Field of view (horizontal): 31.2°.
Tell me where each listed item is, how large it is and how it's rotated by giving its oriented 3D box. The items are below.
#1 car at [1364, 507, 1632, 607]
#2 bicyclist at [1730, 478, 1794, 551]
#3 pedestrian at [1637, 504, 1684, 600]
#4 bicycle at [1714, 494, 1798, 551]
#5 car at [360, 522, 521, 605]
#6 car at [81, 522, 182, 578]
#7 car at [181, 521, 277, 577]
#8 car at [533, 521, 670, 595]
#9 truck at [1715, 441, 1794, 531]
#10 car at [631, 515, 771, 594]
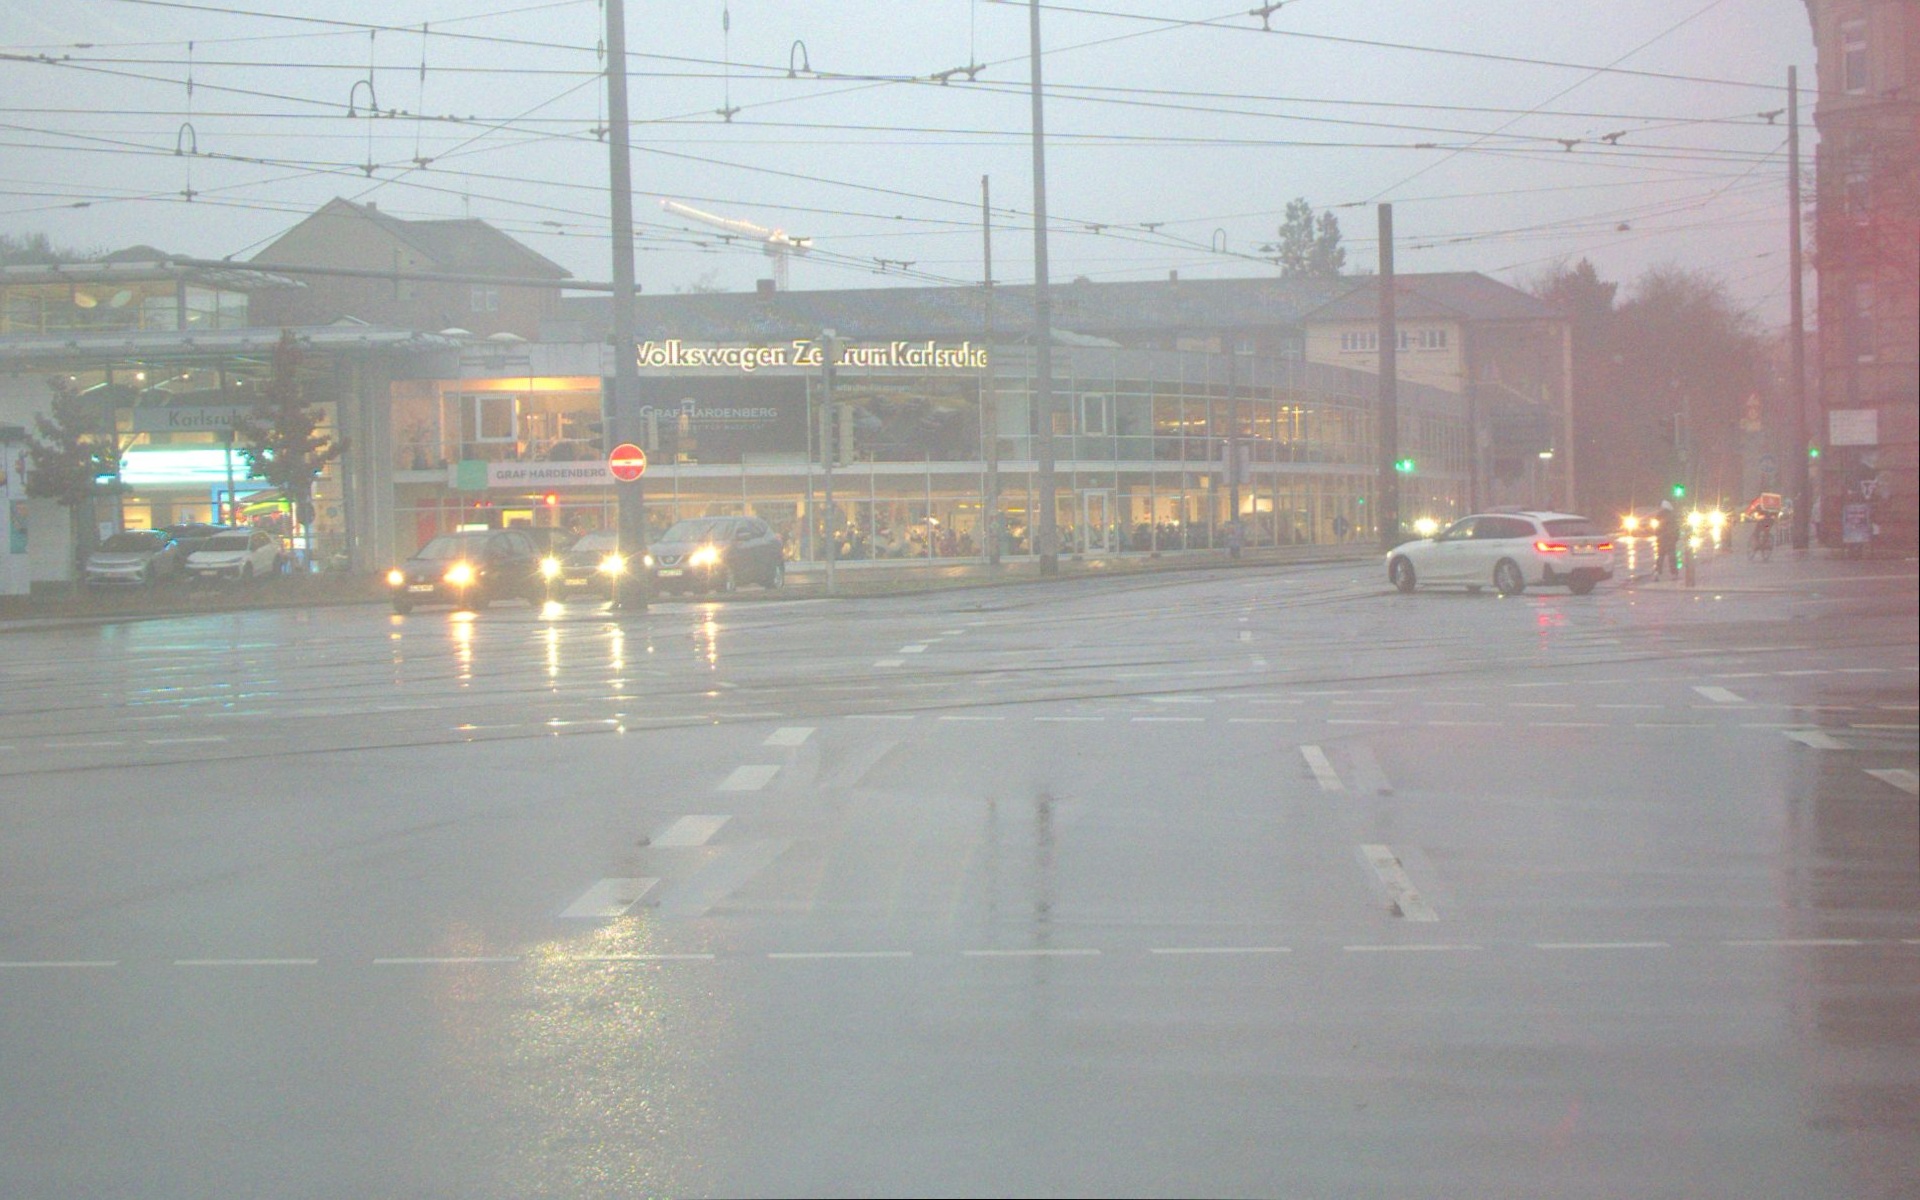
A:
[{"bbox_3d":[9.368,-0.738,60.220,1.735,1.651,4.813,-2,1,-36],"label":"car"},{"bbox_3d":[19.743,-2.109,84.612,1.047,1.762,1.072,-2,1,-29],"label":"bicyclist"},{"bbox_3d":[13.612,-0.930,66.827,0.591,1.834,0.619,-2,1,-35],"label":"pedestrian"},{"bbox_3d":[19.631,-1.909,84.833,0.695,1.371,2.208,-2,1,-29],"label":"bicycle"},{"bbox_3d":[-9.625,-0.702,64.007,1.813,1.441,3.999,-1,1,9],"label":"car"},{"bbox_3d":[-24.490,-1.488,101.736,1.862,1.596,4.000,-1,1,2],"label":"car"},{"bbox_3d":[-21.579,-1.514,101.631,1.862,1.596,4.000,-1,1,2],"label":"car"},{"bbox_3d":[-7.339,-0.885,70.674,1.813,1.441,3.999,-1,1,9],"label":"car"},{"bbox_3d":[24.863,-3.540,107.425,1.995,2.682,5.111,-1,1,17],"label":"truck"},{"bbox_3d":[-4.985,-0.896,66.657,1.813,1.441,3.999,-1,1,9],"label":"car"}]
